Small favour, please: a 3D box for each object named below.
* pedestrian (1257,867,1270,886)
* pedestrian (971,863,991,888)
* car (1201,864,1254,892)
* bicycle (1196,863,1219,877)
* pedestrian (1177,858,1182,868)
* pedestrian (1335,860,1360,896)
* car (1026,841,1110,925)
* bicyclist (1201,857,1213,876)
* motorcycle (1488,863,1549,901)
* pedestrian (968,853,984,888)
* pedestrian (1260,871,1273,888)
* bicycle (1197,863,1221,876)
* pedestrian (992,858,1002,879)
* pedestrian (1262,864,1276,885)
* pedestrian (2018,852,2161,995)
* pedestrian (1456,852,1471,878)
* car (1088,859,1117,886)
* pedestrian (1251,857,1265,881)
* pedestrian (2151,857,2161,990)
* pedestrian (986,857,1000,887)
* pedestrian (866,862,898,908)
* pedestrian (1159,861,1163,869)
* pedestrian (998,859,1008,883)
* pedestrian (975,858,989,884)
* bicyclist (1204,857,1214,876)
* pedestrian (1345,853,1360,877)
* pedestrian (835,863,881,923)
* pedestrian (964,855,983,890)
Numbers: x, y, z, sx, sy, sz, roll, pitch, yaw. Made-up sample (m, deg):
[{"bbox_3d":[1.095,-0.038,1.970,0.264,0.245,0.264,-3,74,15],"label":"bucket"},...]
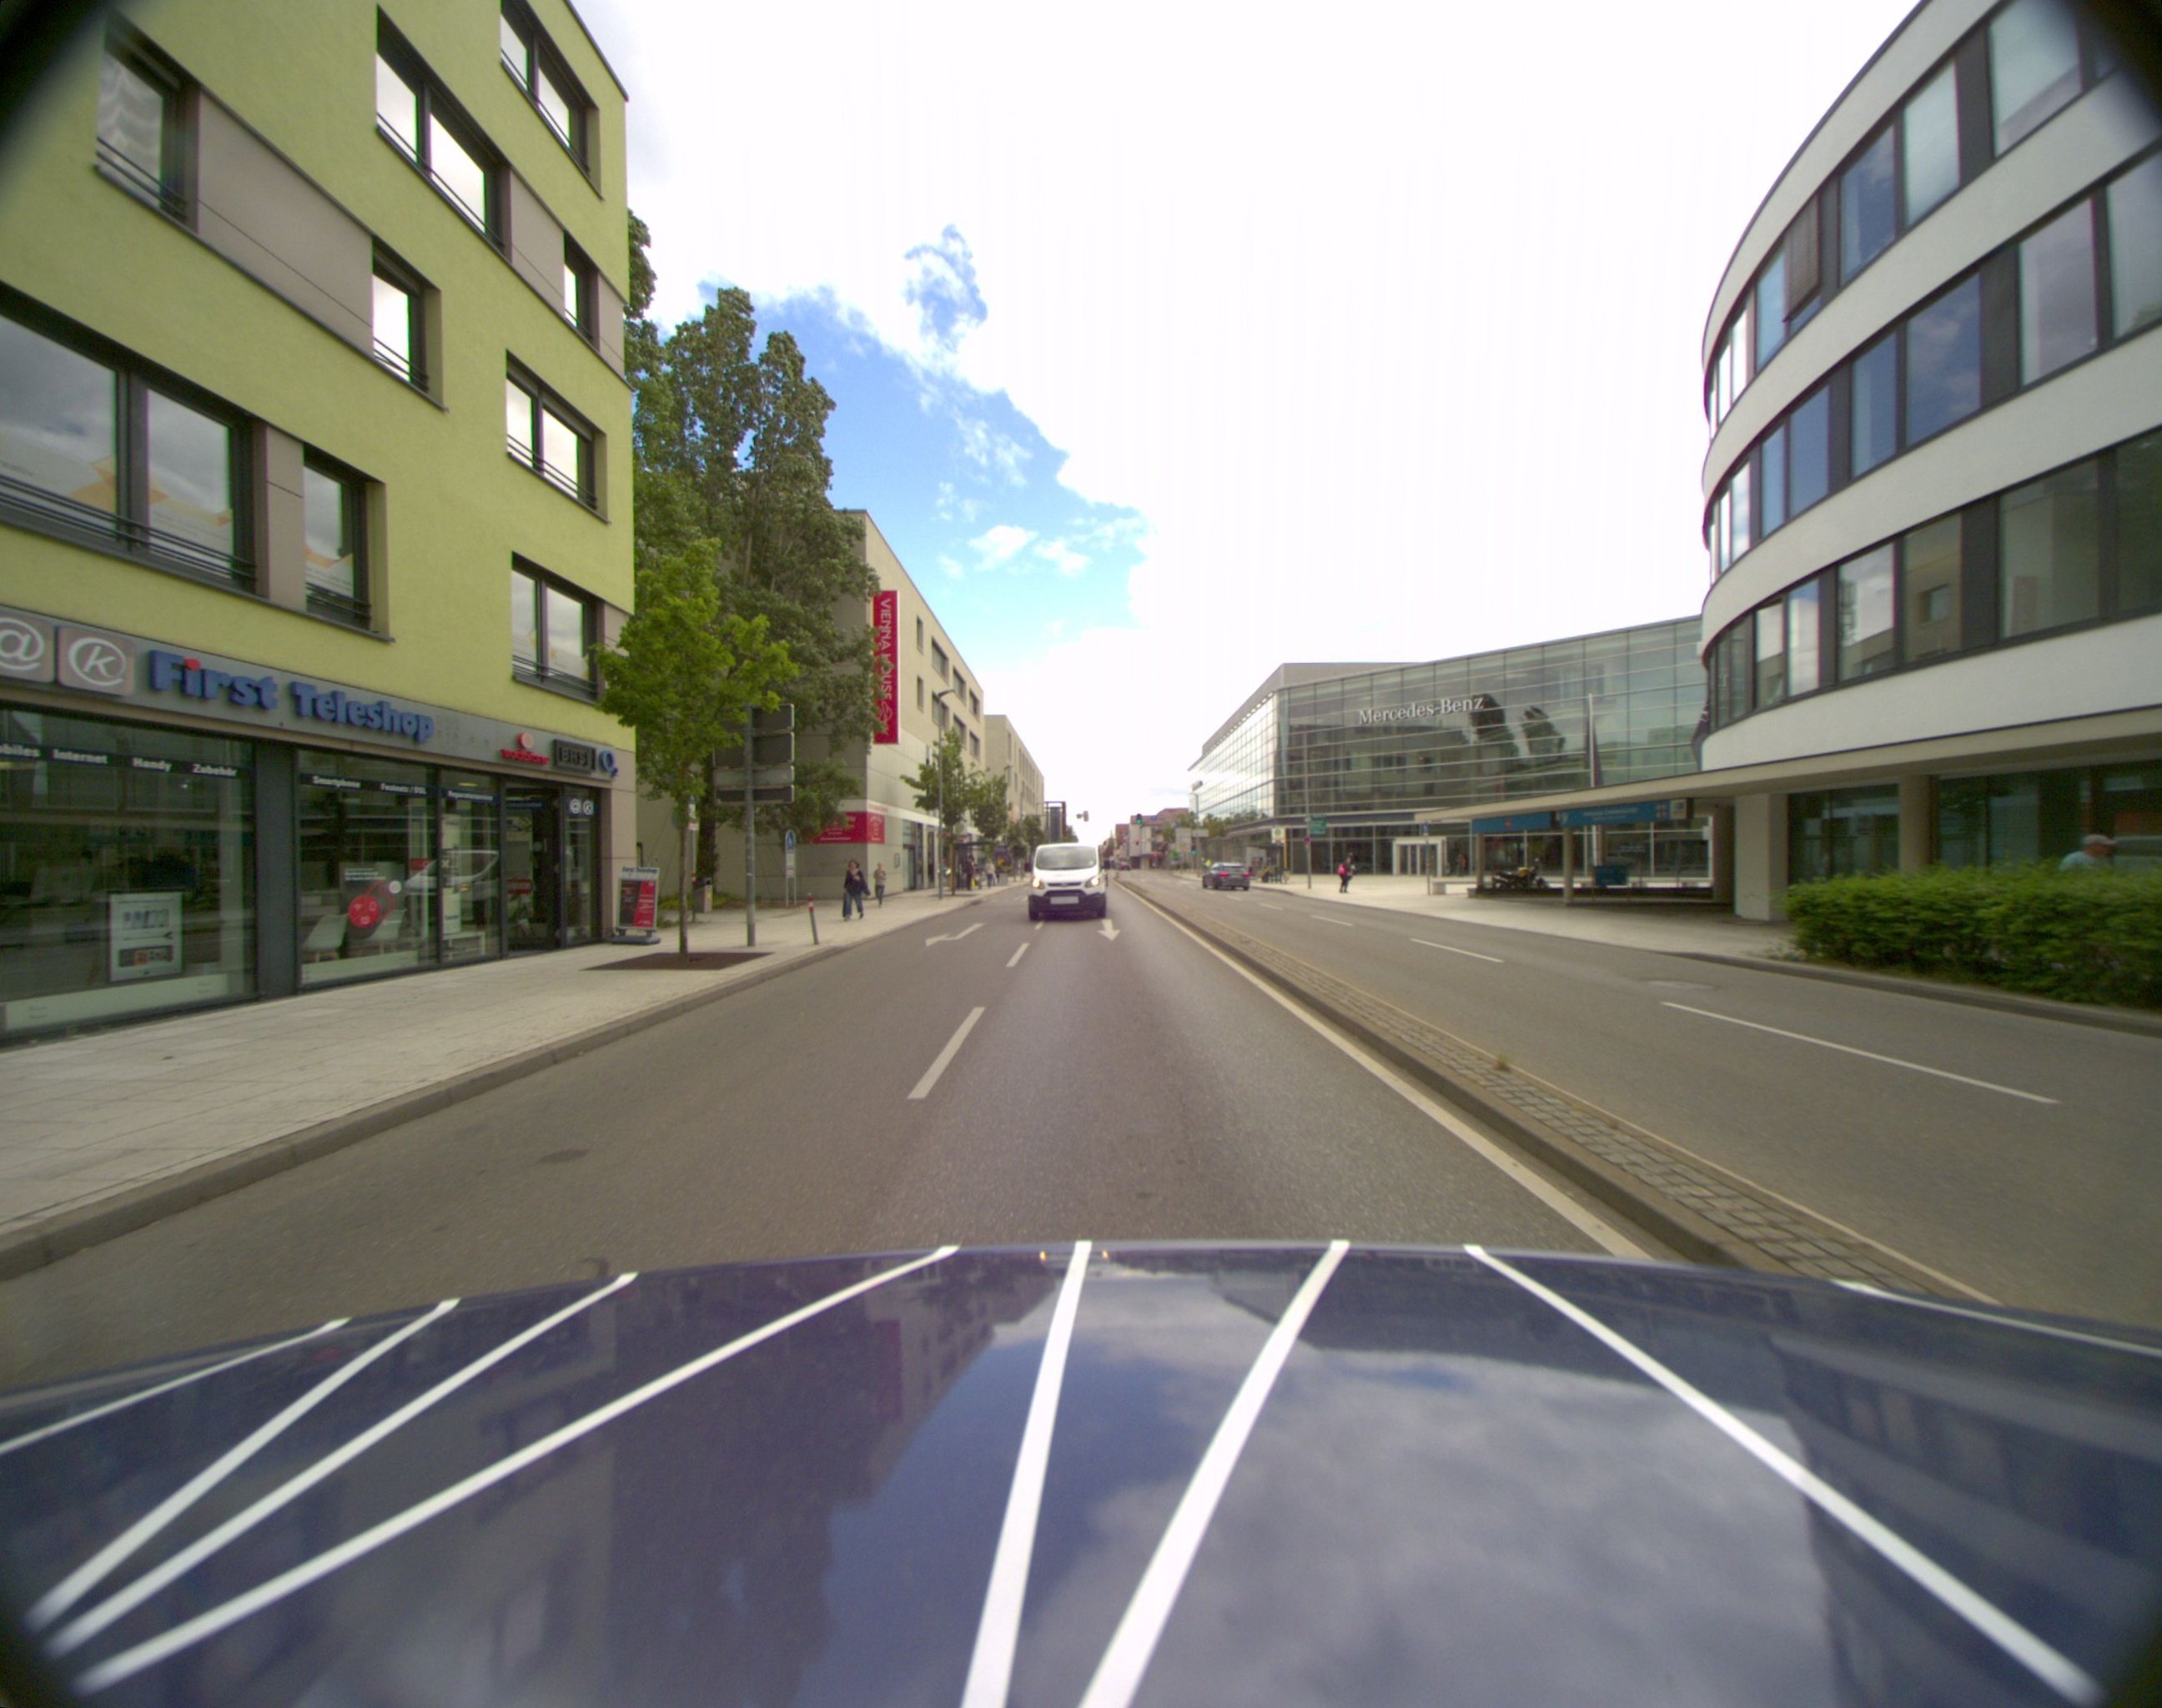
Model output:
[{"bbox_3d":[12.000,1.492,49.967,0.686,1.246,0.576,1,0,-1],"label":"pedestrian"},{"bbox_3d":[-5.194,1.103,39.590,0.945,1.252,0.732,1,0,-2],"label":"pedestrian"},{"bbox_3d":[7.772,1.258,40.816,1.901,1.407,4.470,0,0,-1],"label":"car"},{"bbox_3d":[11.972,1.509,71.775,0.749,1.198,2.025,-2,0,-45],"label":"bicycle"},{"bbox_3d":[15.668,1.441,120.863,0.702,1.614,0.693,0,0,1],"label":"pedestrian"},{"bbox_3d":[11.792,1.052,33.661,0.832,1.558,0.813,-1,0,6],"label":"pedestrian"},{"bbox_3d":[-0.287,0.719,21.013,2.000,1.976,5.001,-2,0,1],"label":"car"},{"bbox_3d":[11.899,1.201,71.817,0.749,1.789,0.772,-2,0,-45],"label":"bicyclist"},{"bbox_3d":[16.335,1.041,28.424,1.858,1.325,0.636,-2,0,4],"label":"motorcycle"},{"bbox_3d":[-5.308,0.842,38.437,0.580,1.759,0.857,1,0,6],"label":"pedestrian"},{"bbox_3d":[12.040,1.629,49.365,0.686,1.069,0.576,2,0,-1],"label":"pedestrian"},{"bbox_3d":[11.591,1.387,68.917,2.002,1.123,0.639,-2,0,16],"label":"bicycle"},{"bbox_3d":[-6.579,1.133,59.520,0.746,1.659,0.614,0,0,1],"label":"pedestrian"},{"bbox_3d":[12.036,1.292,48.694,0.686,1.312,0.576,2,0,-1],"label":"pedestrian"},{"bbox_3d":[12.557,0.824,9.413,0.732,1.664,0.931,-1,0,3],"label":"pedestrian"},{"bbox_3d":[28.193,0.806,56.019,0.687,1.934,0.749,-1,0,-12],"label":"pedestrian"},{"bbox_3d":[1.380,1.097,47.185,1.691,1.550,4.745,-1,0,3],"label":"car"},{"bbox_3d":[11.775,1.005,50.602,0.688,1.621,0.574,1,0,-40],"label":"pedestrian"},{"bbox_3d":[13.343,0.825,8.737,0.732,1.603,0.931,-1,0,3],"label":"pedestrian"},{"bbox_3d":[-4.778,0.973,41.240,0.580,1.581,0.733,1,0,6],"label":"pedestrian"},{"bbox_3d":[-6.796,1.050,25.991,0.871,1.574,0.804,0,0,0],"label":"pedestrian"},{"bbox_3d":[16.220,2.266,154.921,0.555,1.507,0.582,1,0,-32],"label":"pedestrian"},{"bbox_3d":[-5.369,1.170,52.282,0.656,1.659,0.614,0,0,1],"label":"pedestrian"},{"bbox_3d":[-6.082,1.023,46.633,0.742,1.599,0.715,0,0,1],"label":"pedestrian"},{"bbox_3d":[11.589,1.127,68.908,0.783,1.639,0.639,-2,0,16],"label":"bicyclist"},{"bbox_3d":[22.091,0.862,61.842,0.904,1.934,0.748,-1,0,-38],"label":"pedestrian"},{"bbox_3d":[-5.957,1.024,20.341,0.949,1.574,1.016,0,0,0],"label":"pedestrian"},{"bbox_3d":[-5.272,0.898,37.207,0.722,1.674,0.733,1,0,6],"label":"pedestrian"}]
